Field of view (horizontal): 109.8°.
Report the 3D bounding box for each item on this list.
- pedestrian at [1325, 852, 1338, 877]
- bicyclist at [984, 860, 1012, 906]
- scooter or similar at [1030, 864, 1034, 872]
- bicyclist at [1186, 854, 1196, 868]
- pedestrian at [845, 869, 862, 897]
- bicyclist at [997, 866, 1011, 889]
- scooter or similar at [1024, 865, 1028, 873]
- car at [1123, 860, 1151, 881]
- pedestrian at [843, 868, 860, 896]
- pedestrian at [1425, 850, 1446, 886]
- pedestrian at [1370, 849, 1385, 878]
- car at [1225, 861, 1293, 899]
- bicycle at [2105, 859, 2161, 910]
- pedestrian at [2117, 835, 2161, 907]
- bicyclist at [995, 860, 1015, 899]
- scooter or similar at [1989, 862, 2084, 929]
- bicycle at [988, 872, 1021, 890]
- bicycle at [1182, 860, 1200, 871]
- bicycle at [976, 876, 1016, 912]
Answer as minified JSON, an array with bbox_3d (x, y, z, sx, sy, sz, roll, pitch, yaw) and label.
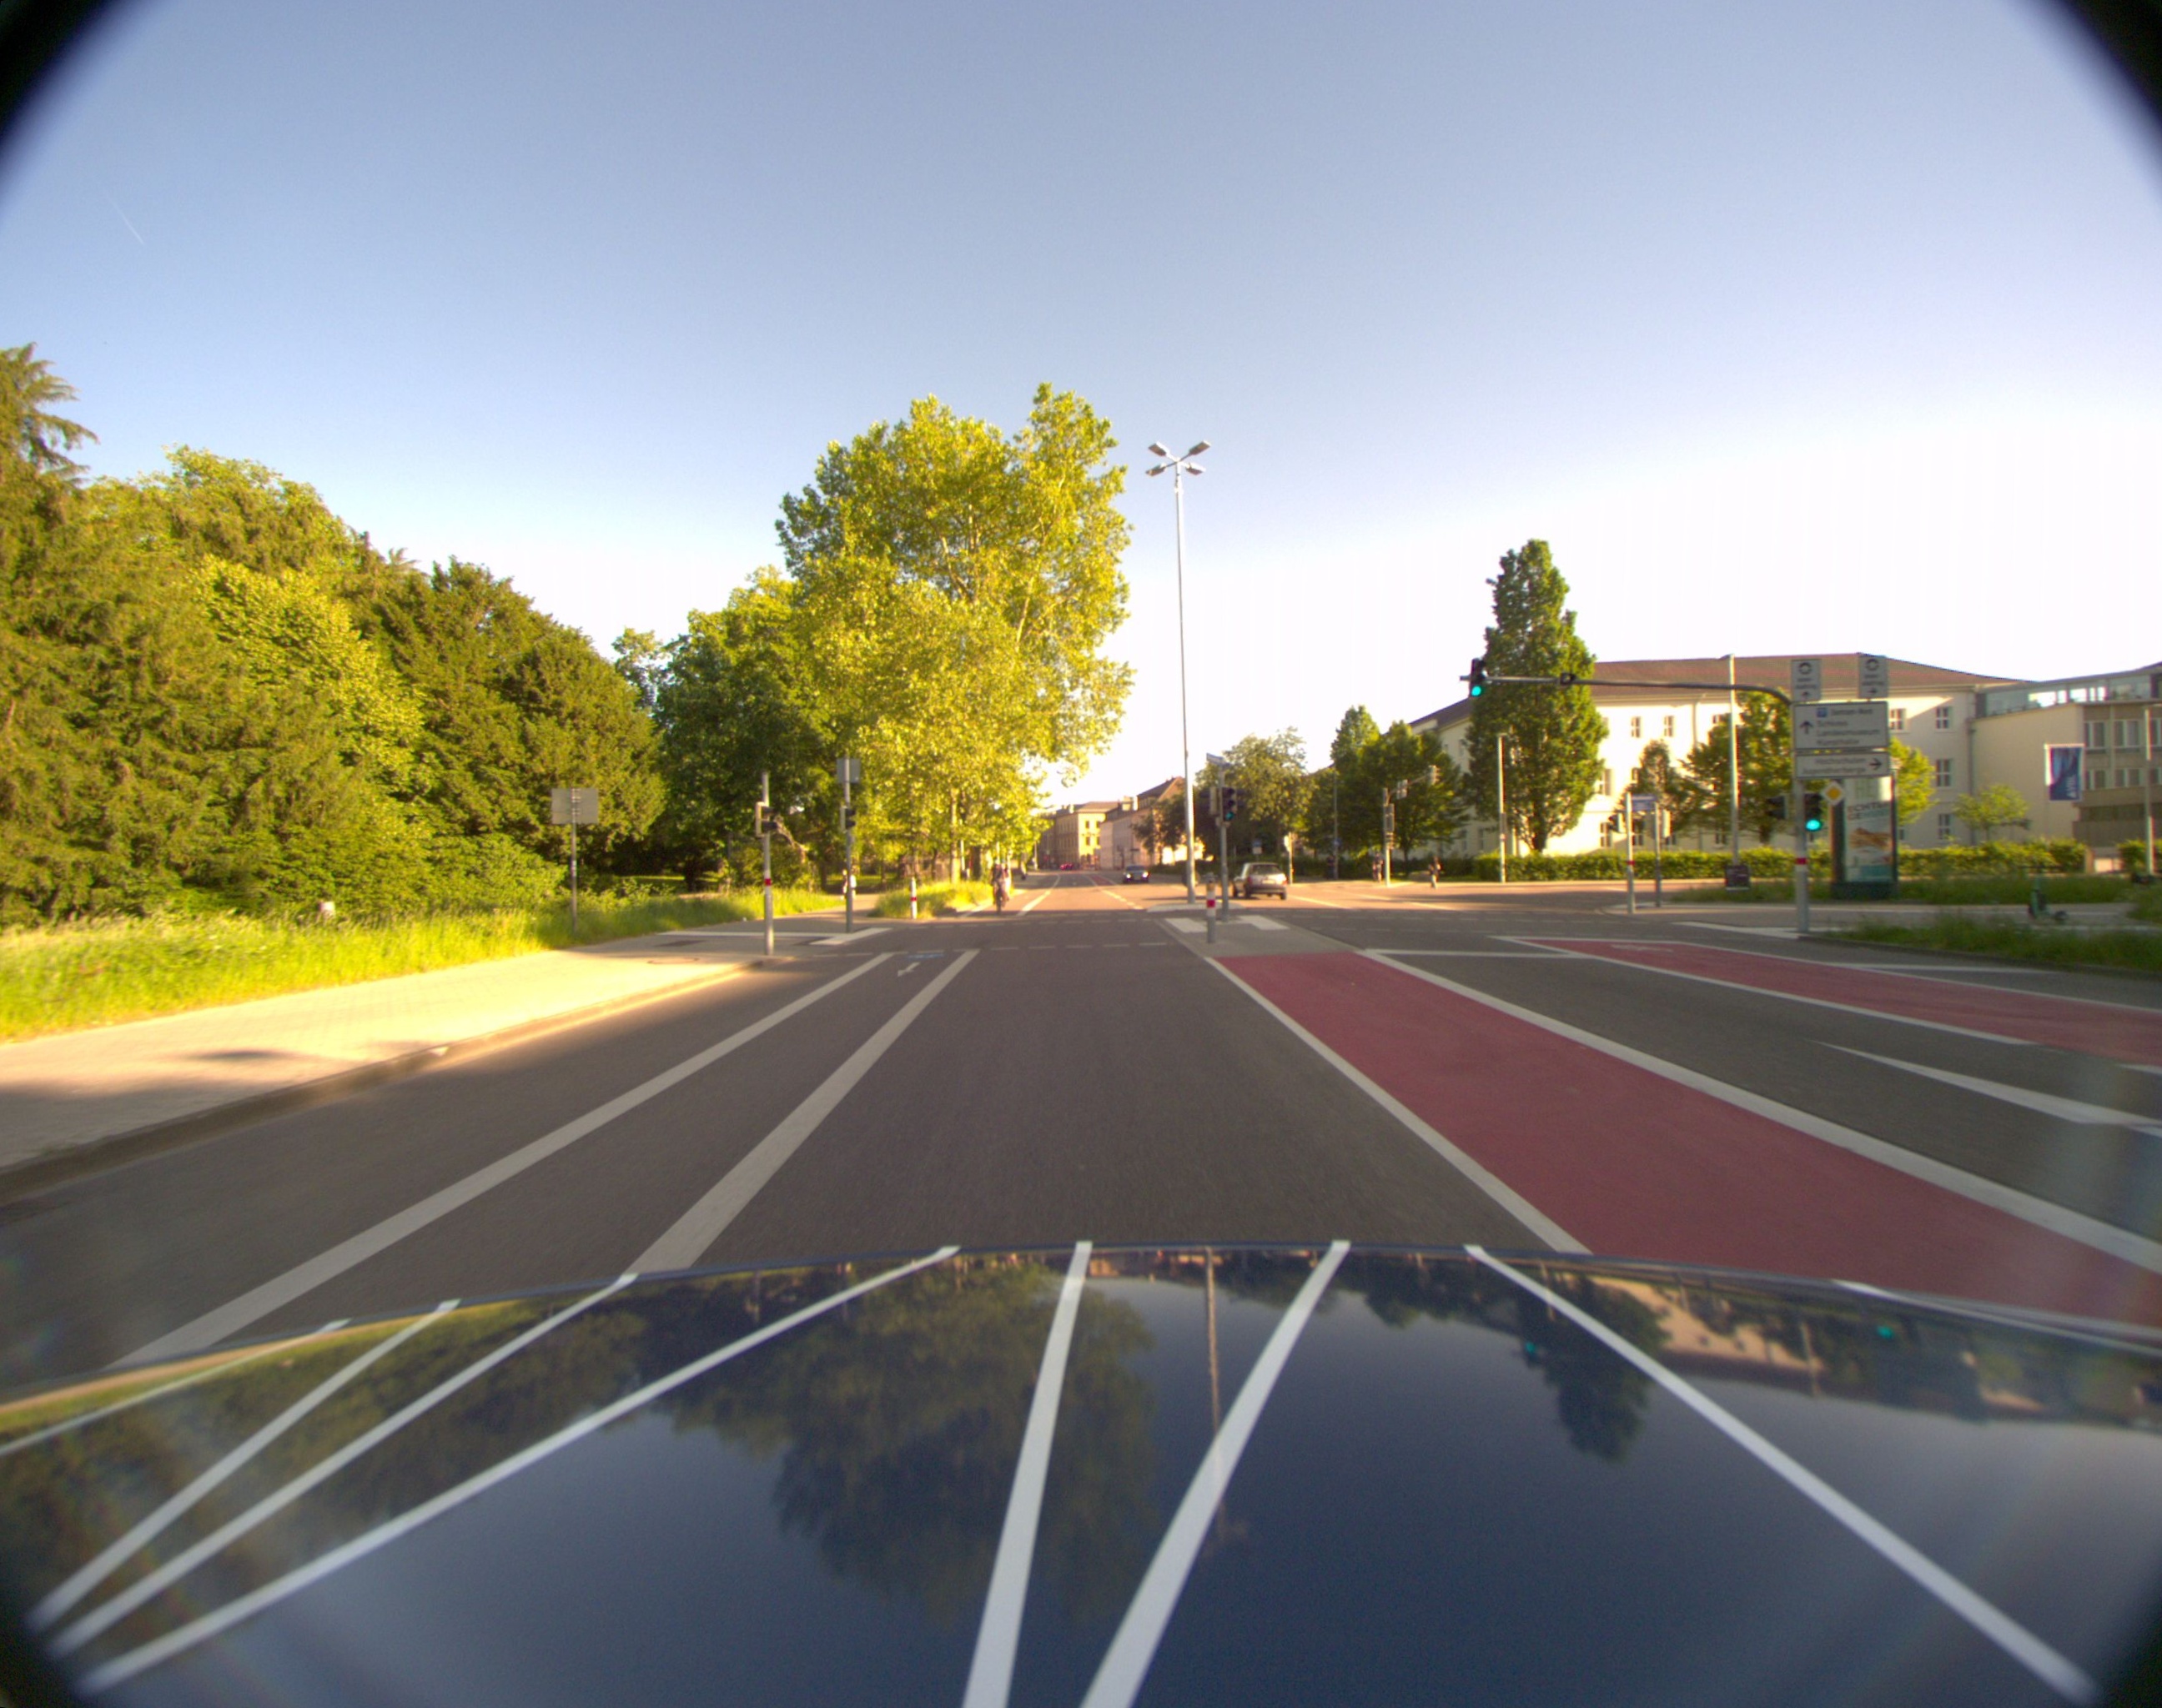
[{"bbox_3d":[17.026,0.725,51.620,0.691,1.672,0.681,-1,0,9],"label":"pedestrian"},{"bbox_3d":[-2.725,0.938,24.970,0.694,1.482,0.801,-1,0,11],"label":"bicyclist"},{"bbox_3d":[-7.258,2.039,111.776,0.416,1.035,1.779,-3,0,0],"label":"scooter or similar"},{"bbox_3d":[11.400,0.750,78.895,0.699,1.457,0.756,-1,0,-29],"label":"bicyclist"},{"bbox_3d":[-12.724,1.612,42.527,0.691,1.537,0.681,-1,0,9],"label":"pedestrian"},{"bbox_3d":[-4.961,1.494,48.871,0.766,1.439,0.696,-1,0,7],"label":"bicyclist"},{"bbox_3d":[-7.961,2.187,109.312,0.416,1.035,1.779,-3,0,0],"label":"scooter or similar"},{"bbox_3d":[4.169,1.195,57.427,1.722,1.409,4.527,-3,0,0],"label":"car"},{"bbox_3d":[-13.328,1.615,44.078,0.691,1.624,0.681,-1,0,9],"label":"pedestrian"},{"bbox_3d":[17.941,0.703,38.472,0.744,1.805,0.727,-1,0,9],"label":"pedestrian"},{"bbox_3d":[18.656,0.608,47.800,0.691,1.805,0.681,-1,0,9],"label":"pedestrian"},{"bbox_3d":[7.063,0.983,30.583,1.715,1.413,4.554,0,0,0],"label":"car"},{"bbox_3d":[25.777,0.672,17.600,2.576,1.129,0.980,-1,0,5],"label":"bicycle"},{"bbox_3d":[25.592,0.400,18.069,0.979,1.686,0.643,-1,0,5],"label":"pedestrian"},{"bbox_3d":[-2.984,0.987,29.811,0.695,1.492,0.892,-1,0,-3],"label":"bicyclist"},{"bbox_3d":[19.589,0.824,15.614,0.694,1.286,1.499,-1,0,30],"label":"scooter or similar"},{"bbox_3d":[-4.896,1.722,48.872,1.988,1.089,0.696,-1,0,7],"label":"bicycle"},{"bbox_3d":[11.423,1.184,78.867,0.699,1.110,2.184,-1,0,-29],"label":"bicycle"},{"bbox_3d":[-2.750,1.289,24.873,0.694,1.089,2.138,-1,0,11],"label":"bicycle"}]
